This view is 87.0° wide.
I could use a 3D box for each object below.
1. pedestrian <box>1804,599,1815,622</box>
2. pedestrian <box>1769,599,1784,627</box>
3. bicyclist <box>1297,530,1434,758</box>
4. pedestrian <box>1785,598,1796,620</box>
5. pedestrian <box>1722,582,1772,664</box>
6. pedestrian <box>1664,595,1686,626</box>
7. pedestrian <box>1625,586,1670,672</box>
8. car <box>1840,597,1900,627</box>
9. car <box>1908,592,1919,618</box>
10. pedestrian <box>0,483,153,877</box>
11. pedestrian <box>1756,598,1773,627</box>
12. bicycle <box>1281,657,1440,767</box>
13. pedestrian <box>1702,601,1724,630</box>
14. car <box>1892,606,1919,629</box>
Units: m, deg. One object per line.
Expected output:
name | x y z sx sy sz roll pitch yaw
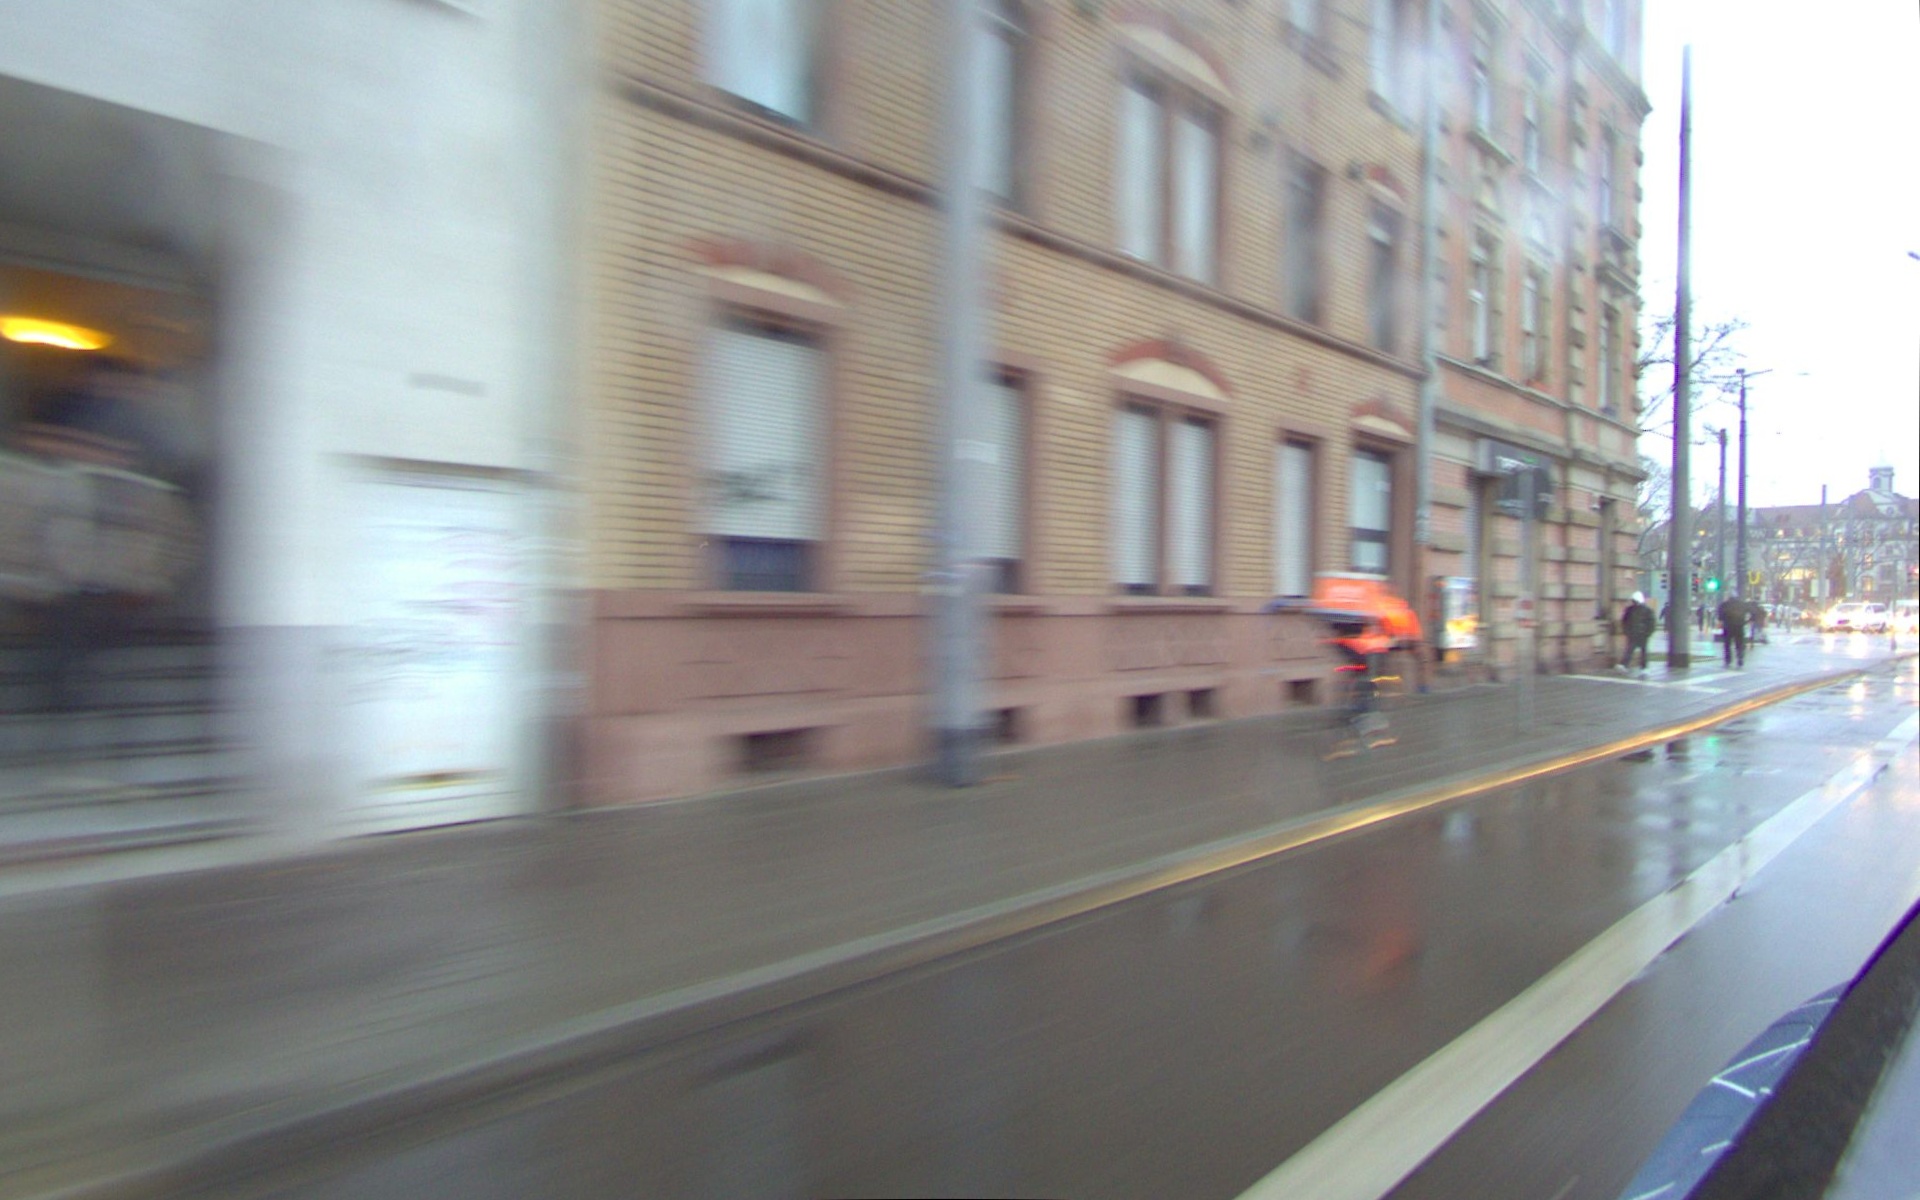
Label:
pedestrian | 67.209 0.805 80.099 0.634 1.784 0.504 1 0 37
pedestrian | 52.165 0.808 64.629 0.503 1.784 0.635 1 0 15
bicyclist | 3.654 0.354 9.104 1.093 1.903 0.745 0 1 -44
pedestrian | 66.259 0.729 80.701 0.634 1.784 0.504 1 0 37
pedestrian | 18.096 0.511 23.268 0.698 1.848 0.753 1 0 -39
pedestrian | 40.769 0.594 57.710 0.734 1.697 0.820 1 0 -31
pedestrian | 12.903 0.527 18.993 0.631 1.568 0.700 1 0 40
car | 59.094 0.757 65.706 4.779 1.861 2.000 0 0 -36
car | 71.163 0.370 73.793 2.000 1.842 3.653 0 0 27
pedestrian | -4.396 0.350 4.950 0.661 1.766 0.777 1 1 -41
pedestrian | 51.533 0.789 64.858 0.640 1.844 0.635 1 0 15
bicycle | 3.635 0.962 9.108 1.830 0.770 0.608 0 1 -44
pedestrian | 43.040 0.860 57.856 0.808 1.640 0.745 1 0 16
car | 65.782 1.205 69.884 1.820 1.527 3.751 1 1 39
